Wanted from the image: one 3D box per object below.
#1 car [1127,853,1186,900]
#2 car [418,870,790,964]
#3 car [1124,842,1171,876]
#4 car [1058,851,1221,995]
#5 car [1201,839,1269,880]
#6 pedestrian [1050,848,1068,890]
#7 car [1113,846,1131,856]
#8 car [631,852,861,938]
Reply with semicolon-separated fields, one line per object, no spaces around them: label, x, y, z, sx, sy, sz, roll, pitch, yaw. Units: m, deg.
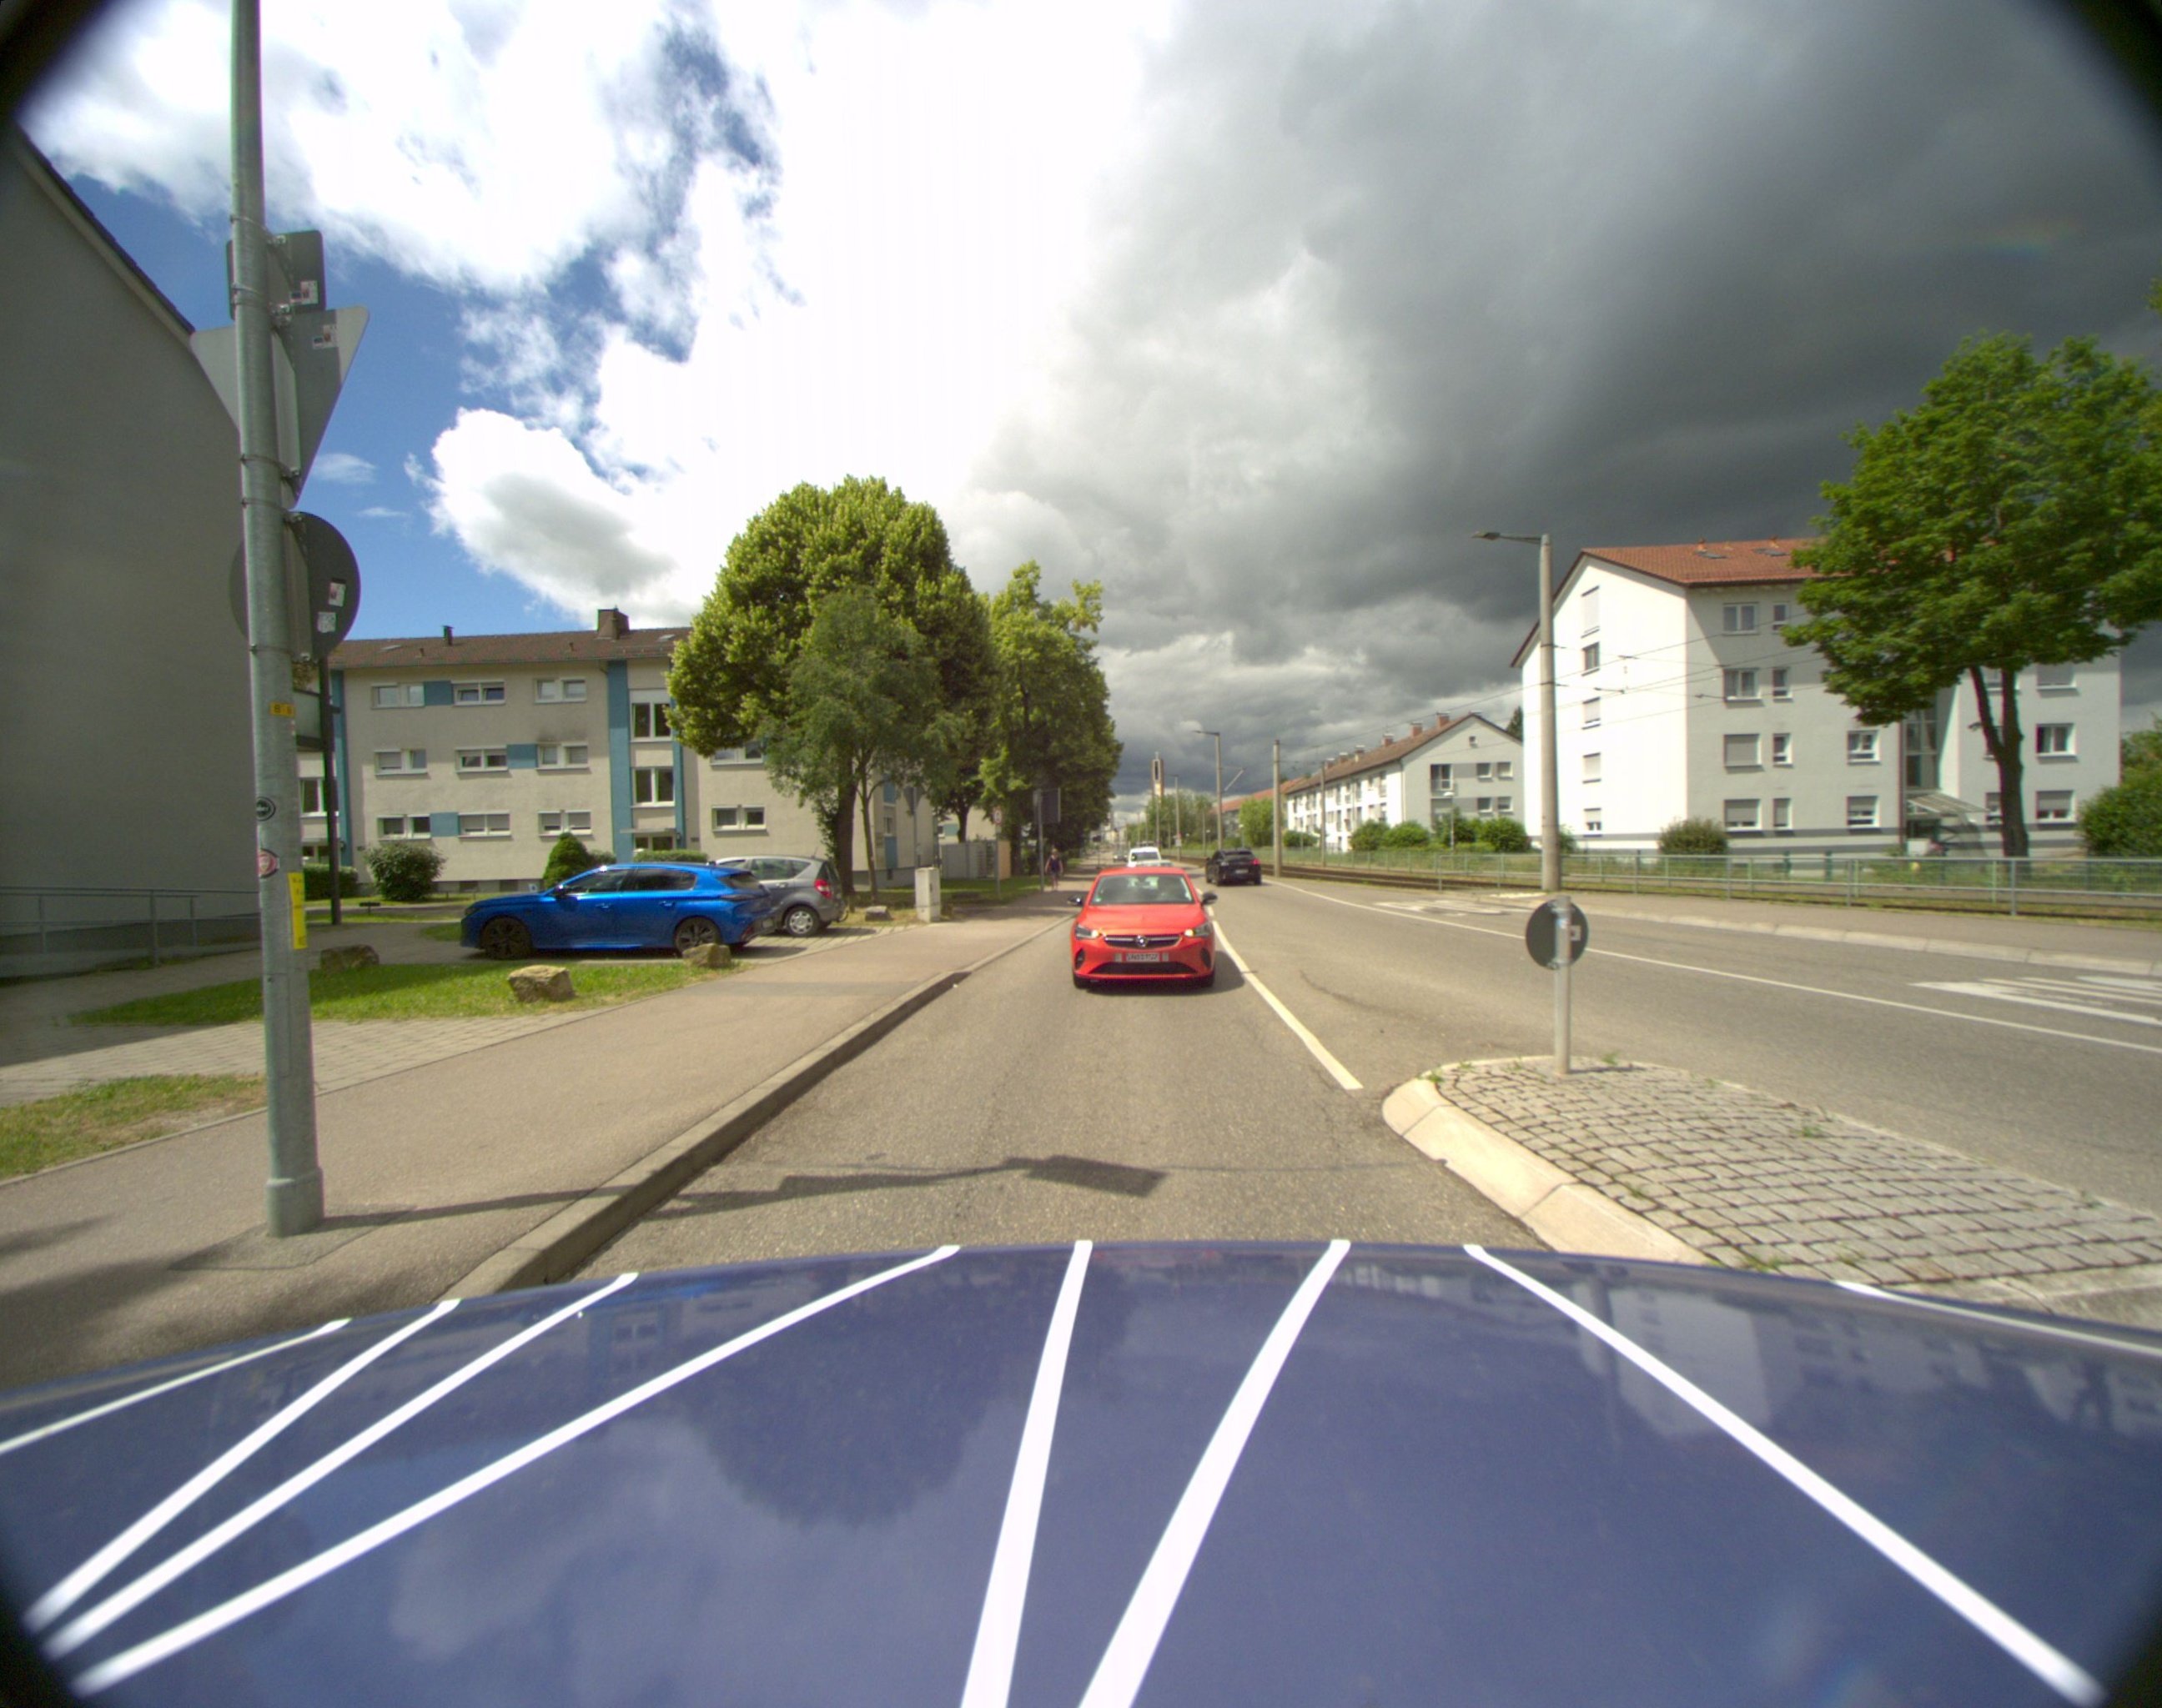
car;2.476;0.687;25.625;1.763;1.390;4.000;0;1;3
car;-7.168;0.949;11.923;4.497;1.236;1.998;1;0;-7
car;3.331;0.226;38.670;1.998;1.598;3.999;-1;1;0
car;0.807;0.761;10.359;1.765;1.548;4.001;-1;0;5
car;6.652;0.181;33.276;1.999;1.517;4.522;-1;3;-1
pedestrian;-0.880;0.592;30.555;0.684;1.651;0.831;-1;1;-3
car;5.437;-0.386;100.560;1.917;1.309;4.002;0;1;10
car;-6.550;0.770;15.248;3.740;1.548;2.030;1;1;-5
